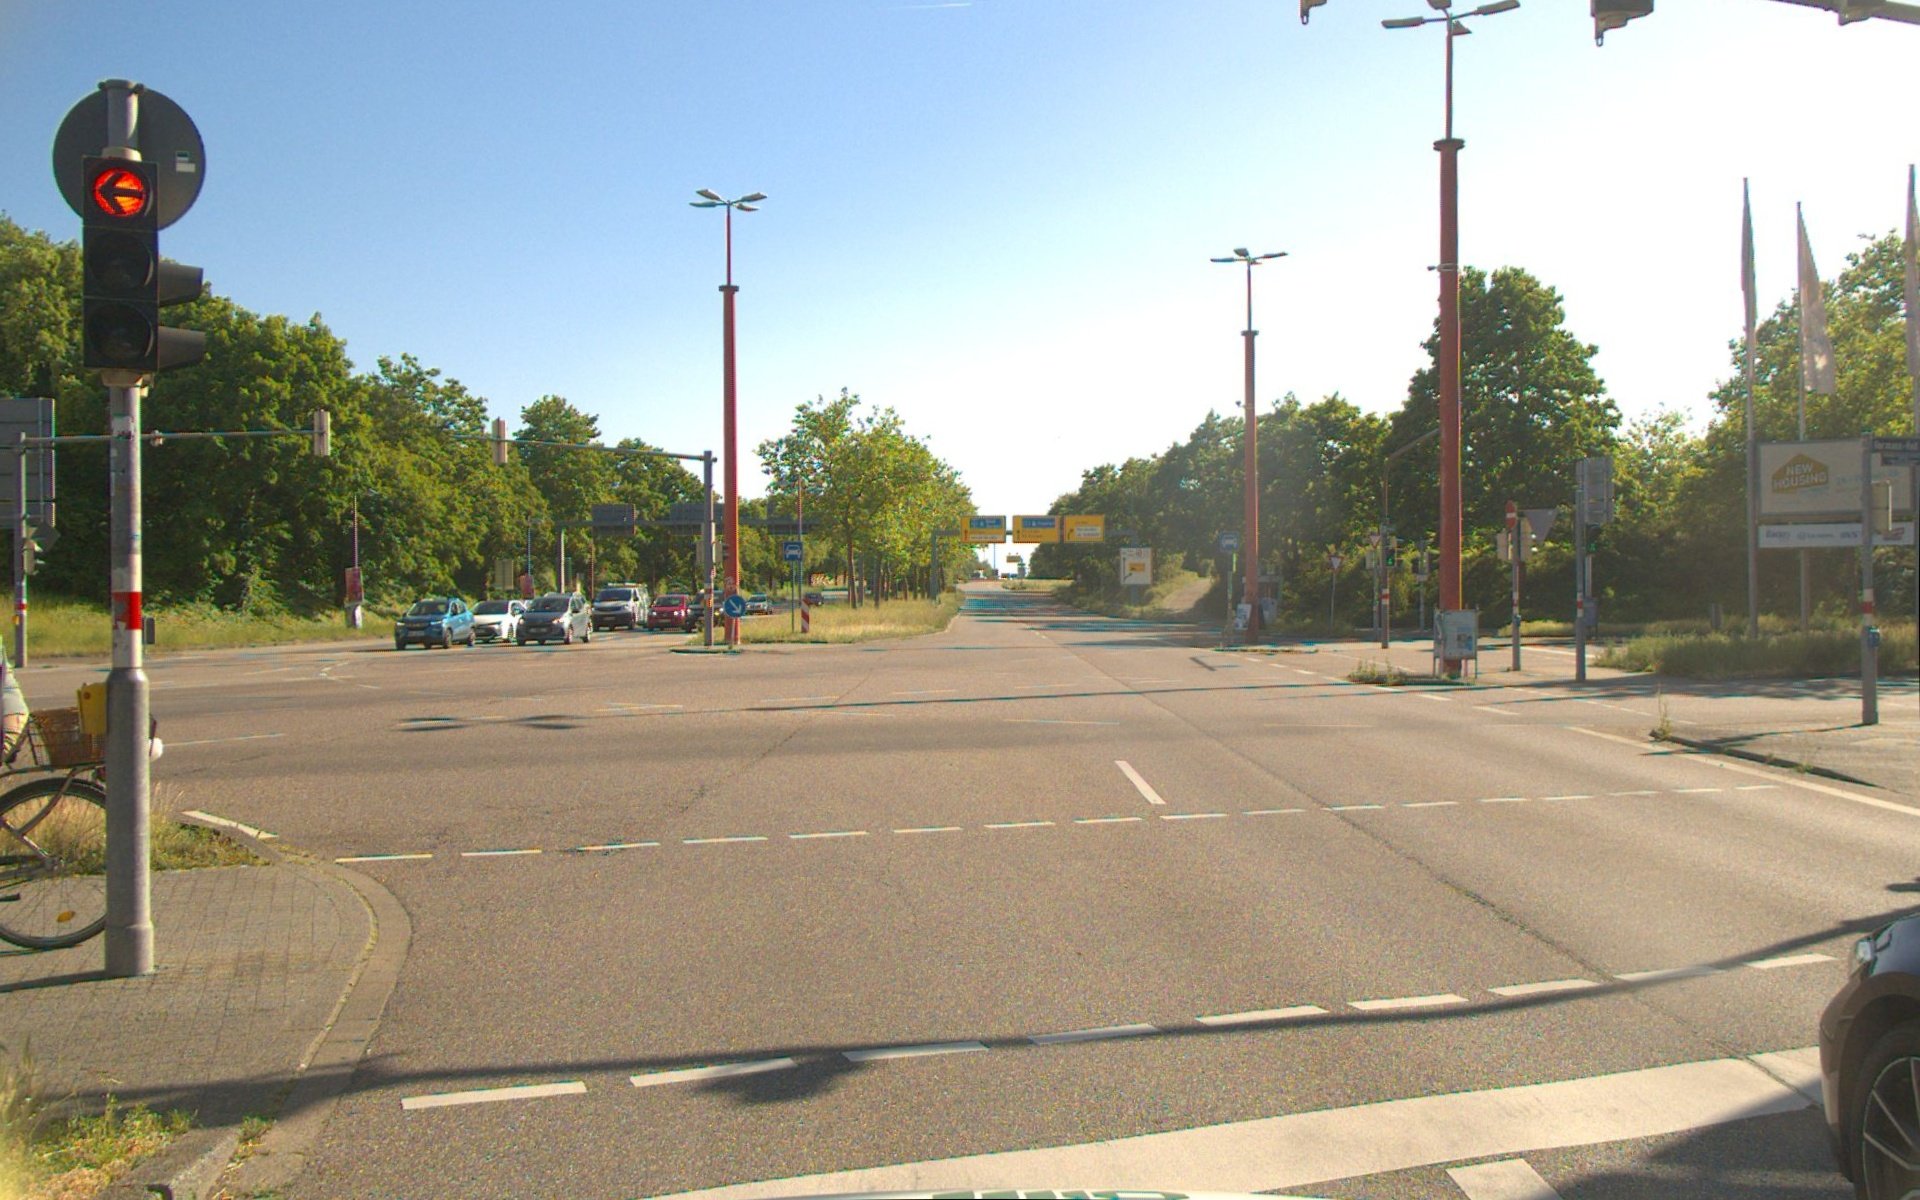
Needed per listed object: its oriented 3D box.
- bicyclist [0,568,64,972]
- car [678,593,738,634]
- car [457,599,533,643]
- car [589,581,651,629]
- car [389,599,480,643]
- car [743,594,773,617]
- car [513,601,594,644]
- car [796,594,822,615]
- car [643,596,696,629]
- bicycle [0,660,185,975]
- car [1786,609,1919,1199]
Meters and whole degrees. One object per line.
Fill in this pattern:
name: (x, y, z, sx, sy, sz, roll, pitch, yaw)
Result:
bicyclist: (-4.083, 0.679, 6.835, 0.653, 1.612, 0.666, 0, 0, -28)
car: (-9.906, 0.510, 65.251, 1.782, 1.534, 3.999, 0, 0, -1)
car: (-15.925, 0.702, 56.797, 1.704, 1.436, 3.611, 0, 0, -2)
car: (-15.410, 0.214, 75.205, 1.855, 2.061, 5.221, 0, 0, -2)
car: (-16.048, 0.612, 50.680, 1.704, 1.265, 3.611, 0, 0, -2)
car: (-15.146, 0.394, 124.217, 1.761, 1.668, 3.999, 0, 0, -1)
car: (-12.667, 0.670, 51.702, 1.704, 1.265, 3.611, 0, 0, -2)
car: (-12.264, 0.362, 134.417, 1.782, 1.657, 3.999, 0, 0, -1)
car: (-12.318, 0.515, 70.262, 1.704, 1.386, 3.611, 0, 0, -2)
bicycle: (-4.239, 0.886, 6.746, 1.920, 1.216, 0.686, 0, 0, -29)
car: (2.912, 0.736, 1.793, 1.831, 1.422, 4.443, 0, 0, 0)
